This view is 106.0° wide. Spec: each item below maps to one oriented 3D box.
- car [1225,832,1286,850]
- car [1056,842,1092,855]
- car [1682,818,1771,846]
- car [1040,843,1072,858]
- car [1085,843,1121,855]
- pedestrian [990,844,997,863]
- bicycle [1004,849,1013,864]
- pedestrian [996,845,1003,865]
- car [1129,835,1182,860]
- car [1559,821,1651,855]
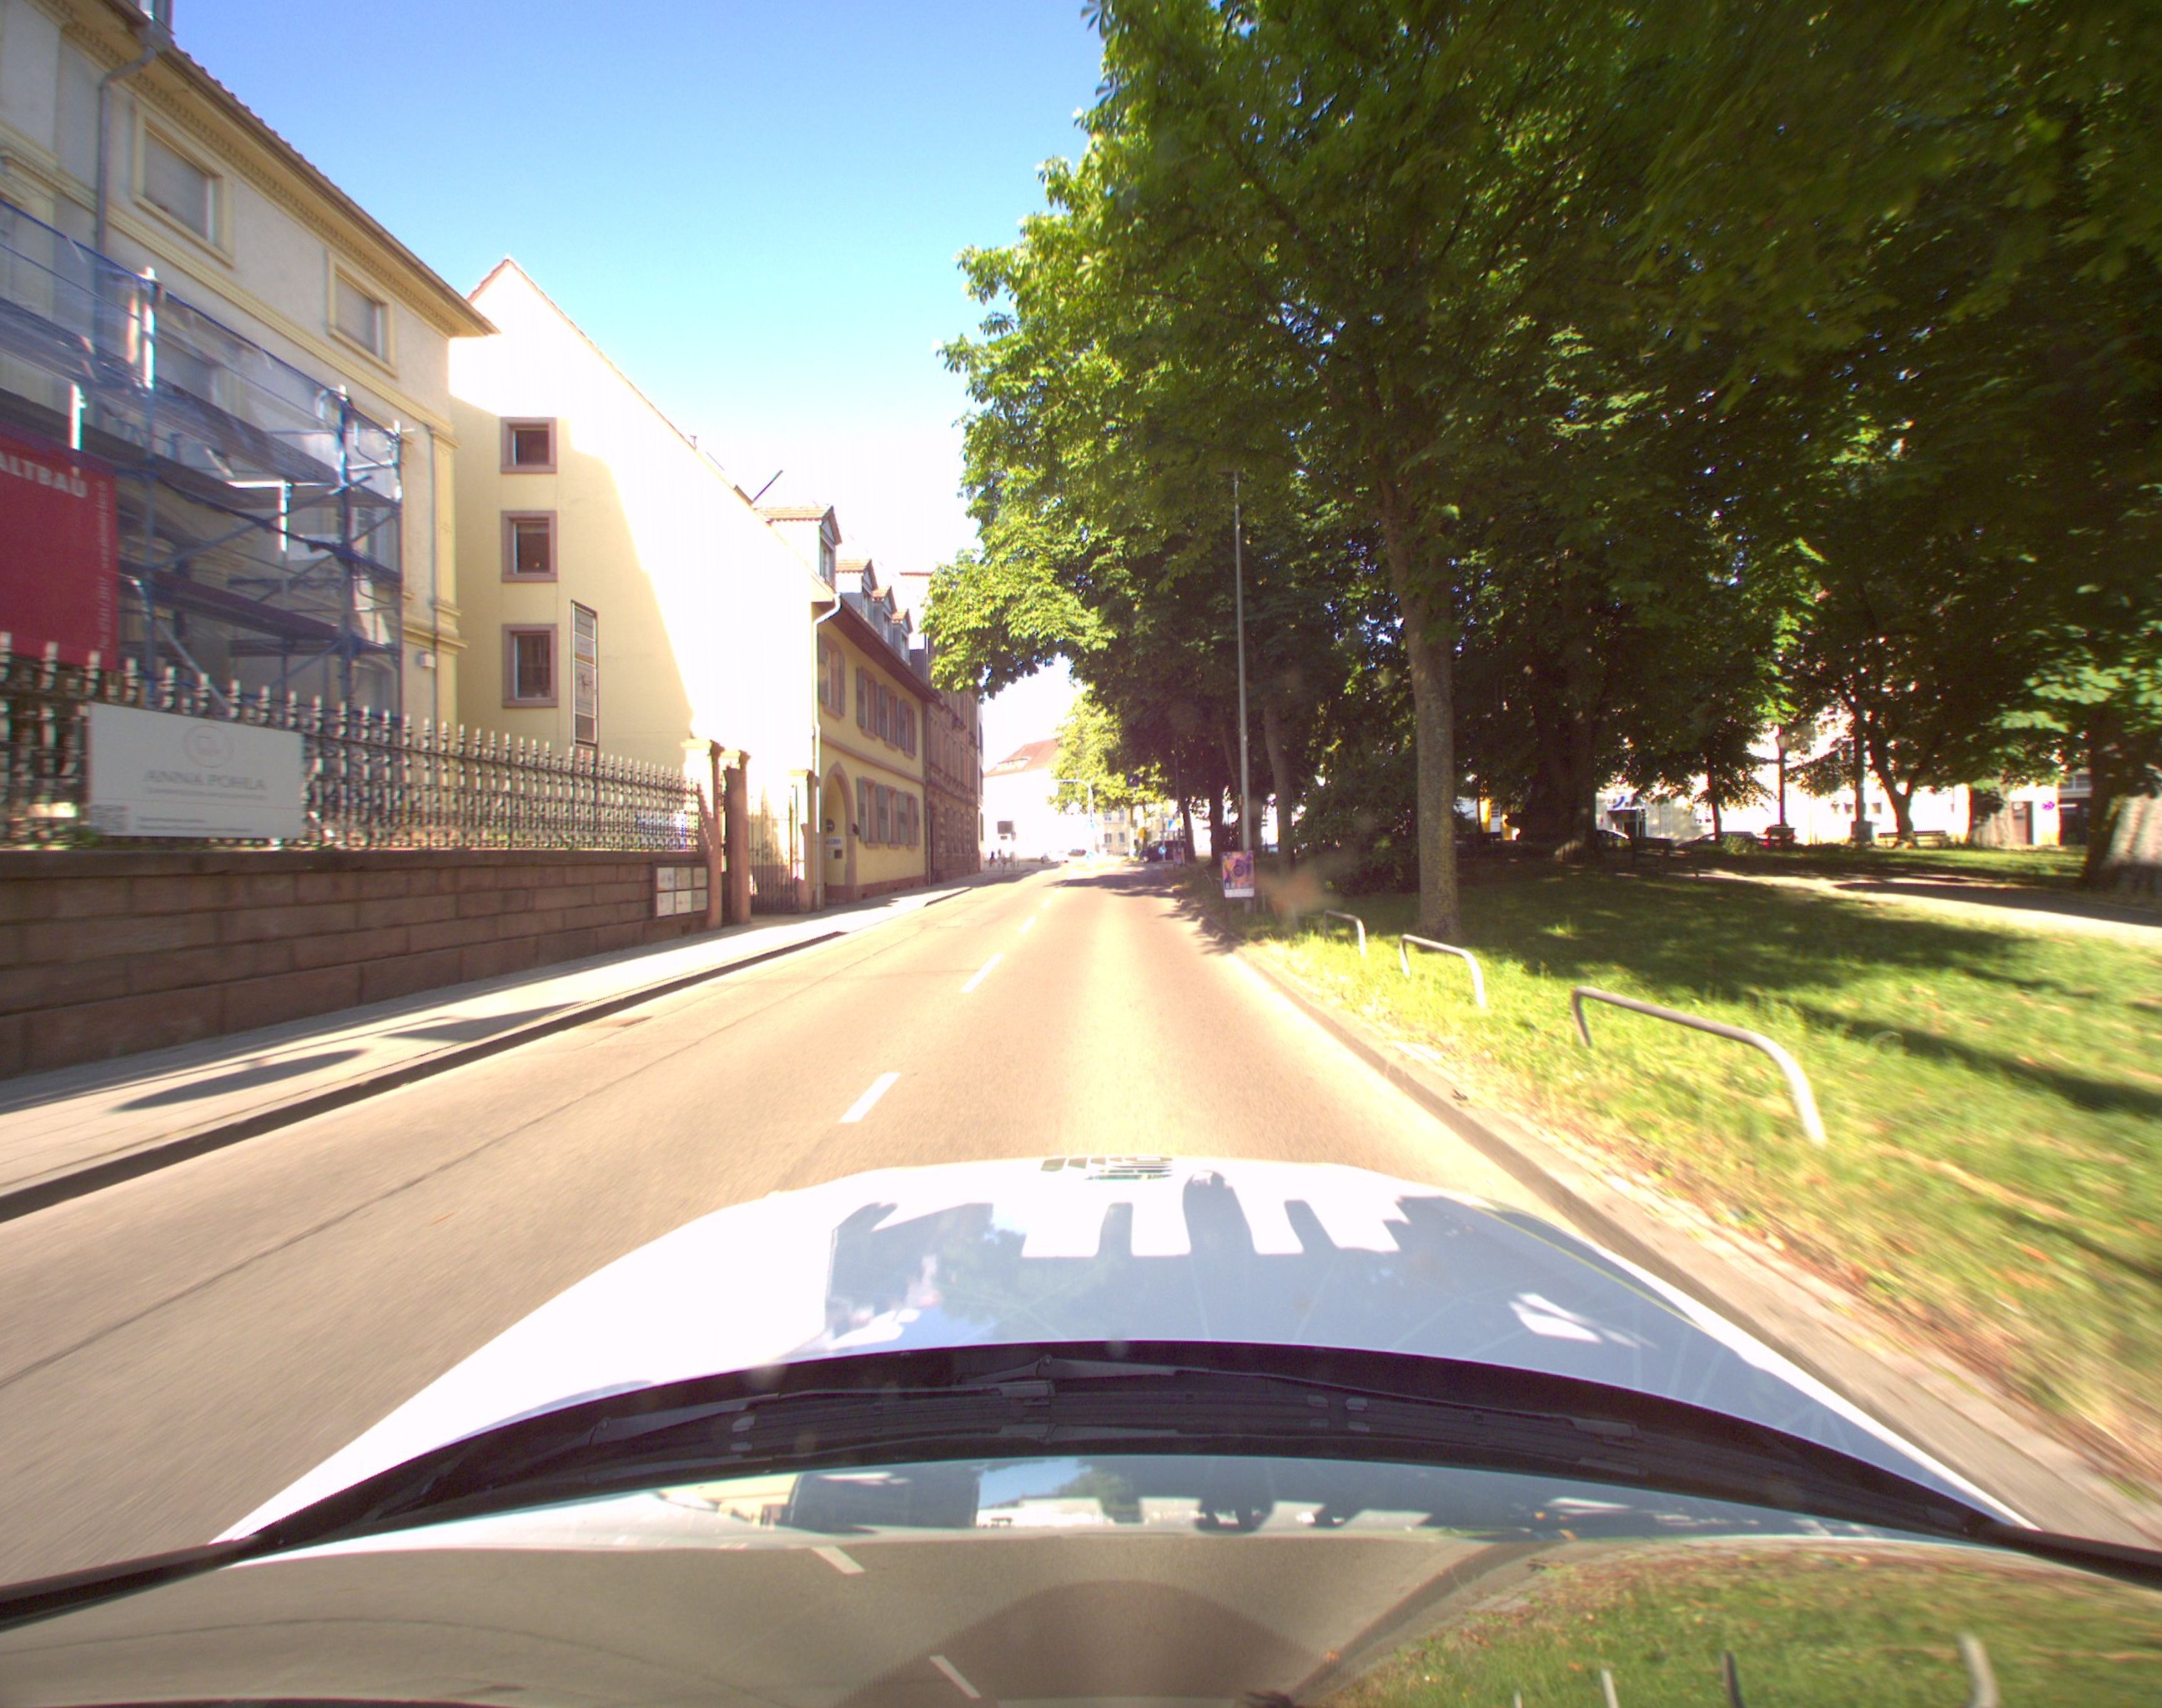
[{"bbox_3d":[14.803,-1.111,68.988,4.713,1.463,1.866,0,1,26],"label":"car"},{"bbox_3d":[-0.944,-0.746,106.951,2.011,1.572,4.585,-2,0,-43],"label":"car"},{"bbox_3d":[37.175,-1.252,46.956,1.686,1.422,3.753,-3,1,-43],"label":"car"},{"bbox_3d":[-2.640,-0.368,84.636,1.969,1.505,3.653,-2,1,-26],"label":"car"},{"bbox_3d":[2.787,-0.640,102.728,2.011,1.386,4.392,-2,2,-43],"label":"car"},{"bbox_3d":[-7.467,-0.034,69.385,0.475,1.564,0.599,-1,1,-18],"label":"pedestrian"},{"bbox_3d":[-6.282,0.214,70.266,0.441,1.178,1.956,0,1,-16],"label":"bicycle"},{"bbox_3d":[-6.940,0.104,69.532,0.475,1.647,0.599,-2,2,-17],"label":"pedestrian"},{"bbox_3d":[6.046,-0.504,65.760,3.959,2.013,2.008,0,0,13],"label":"car"},{"bbox_3d":[29.382,-0.858,45.745,2.011,1.794,3.952,0,-1,-42],"label":"car"}]
